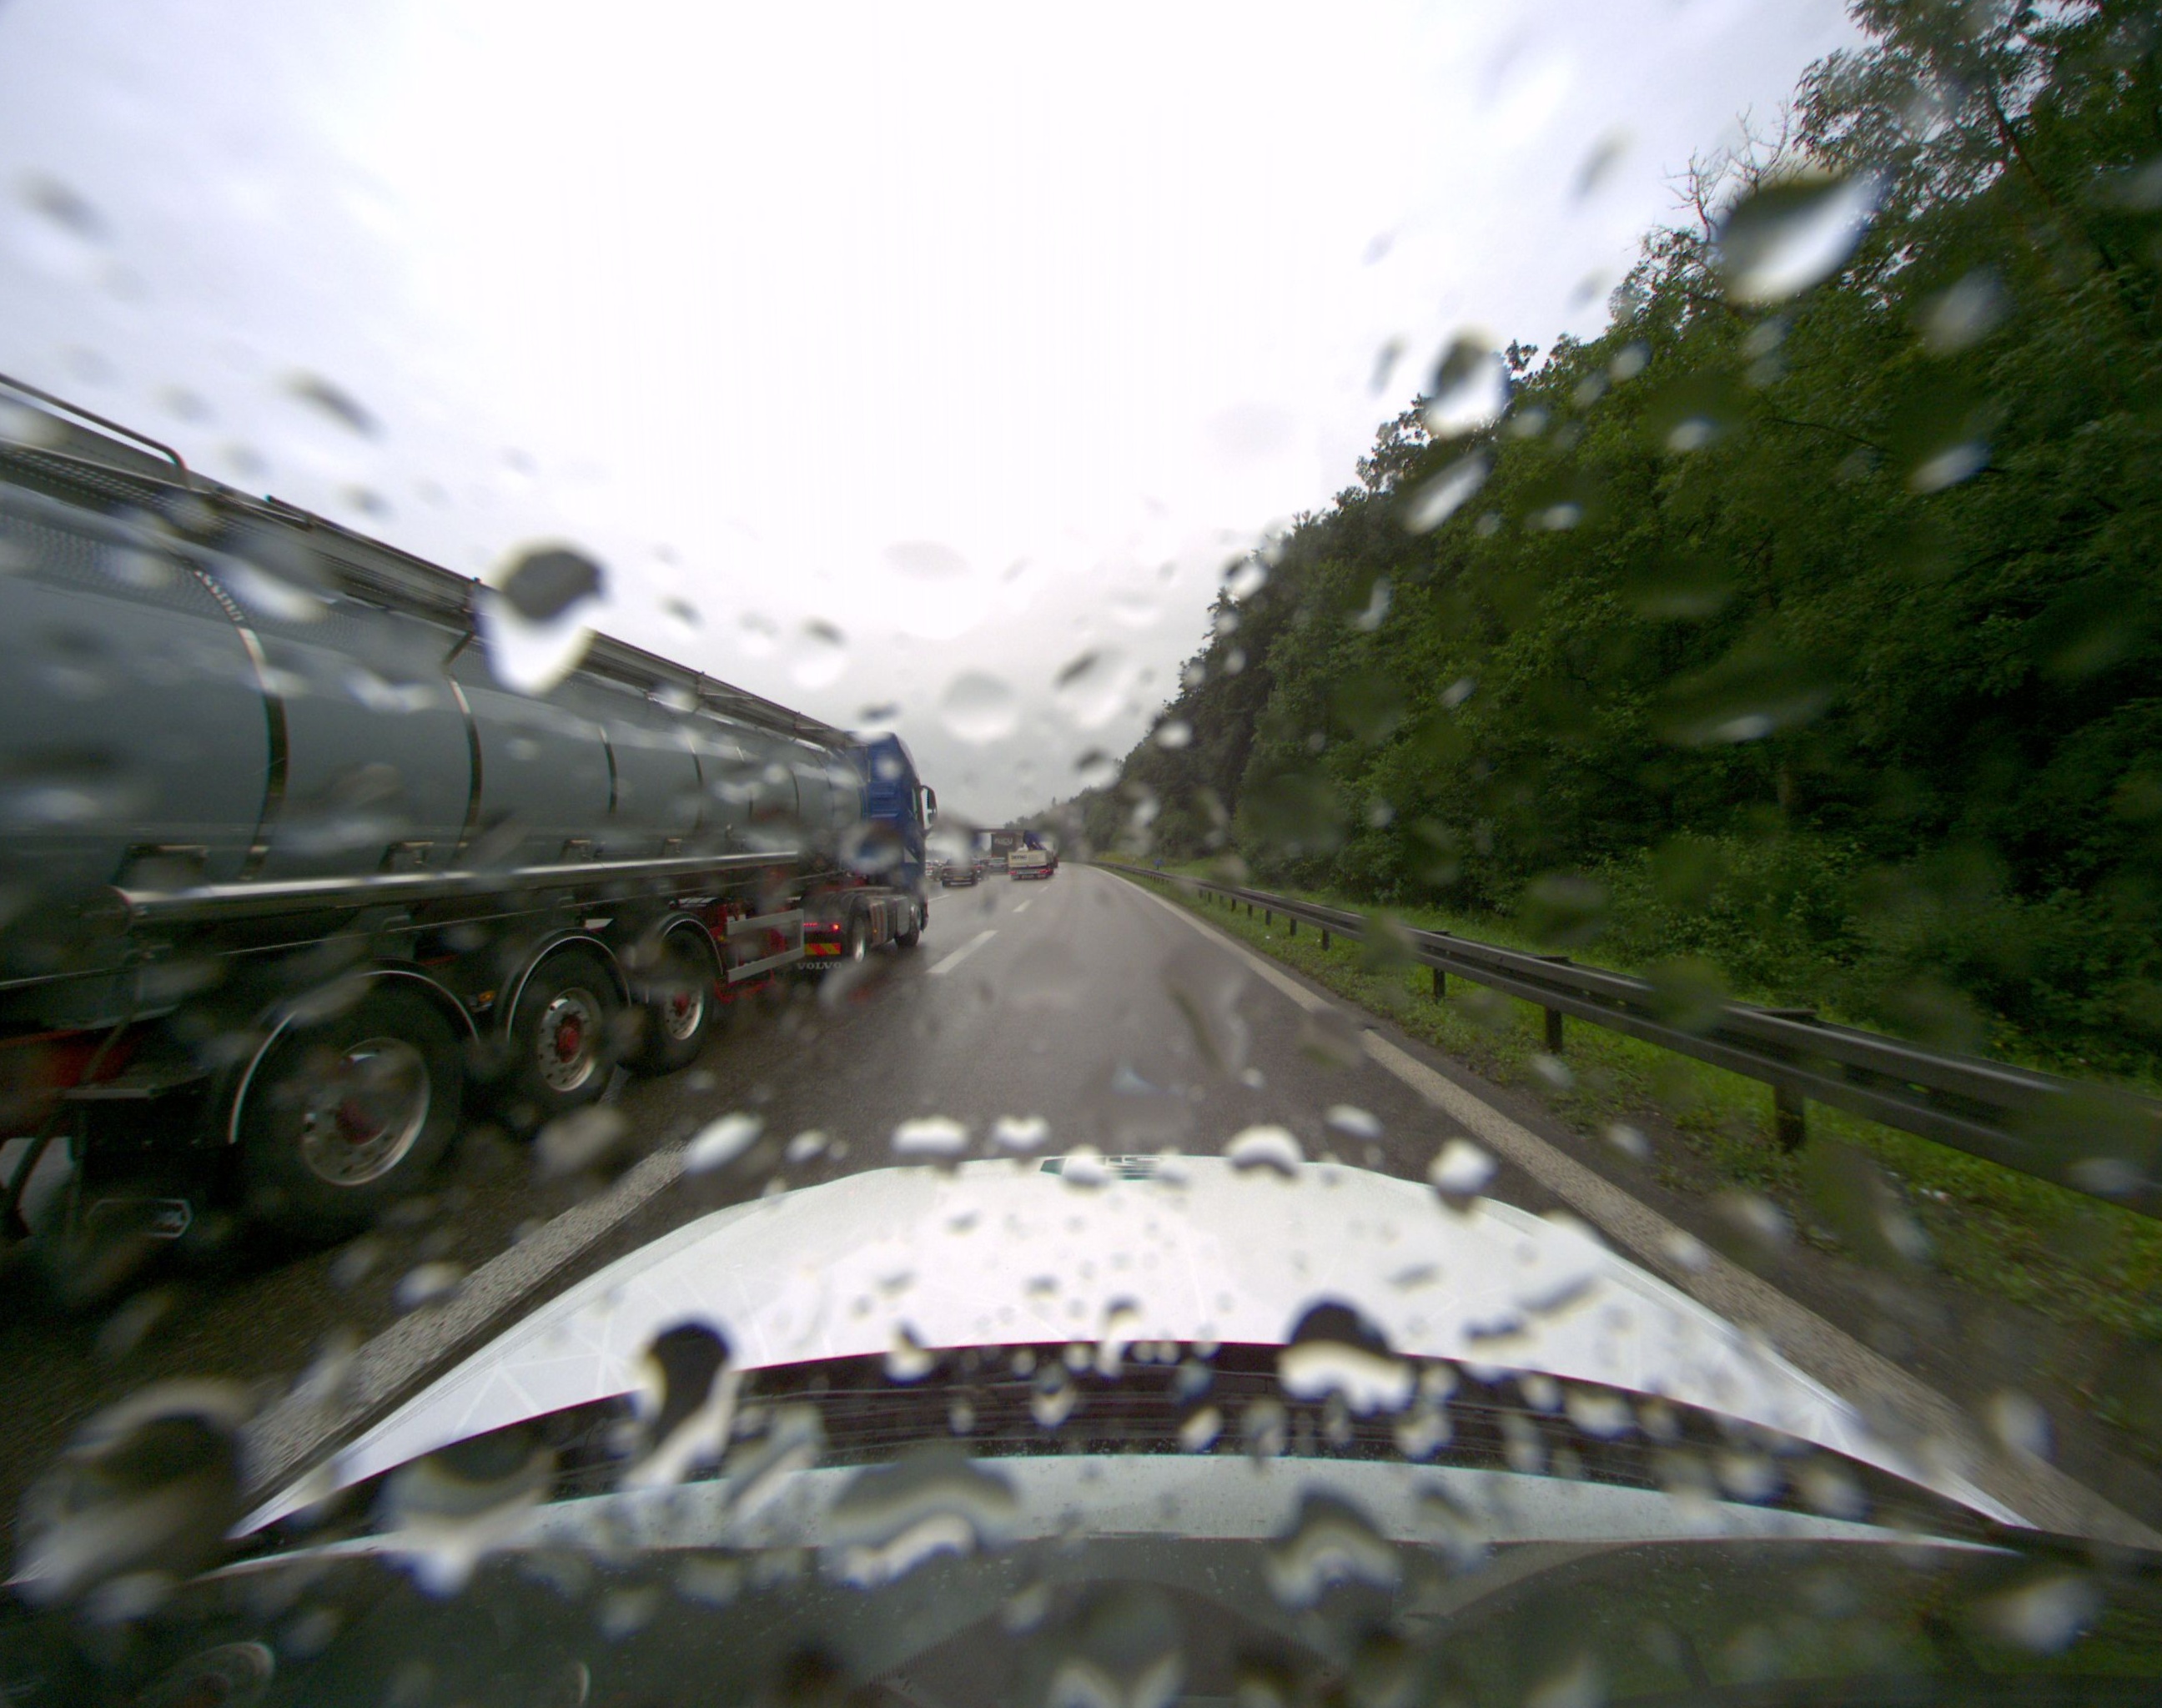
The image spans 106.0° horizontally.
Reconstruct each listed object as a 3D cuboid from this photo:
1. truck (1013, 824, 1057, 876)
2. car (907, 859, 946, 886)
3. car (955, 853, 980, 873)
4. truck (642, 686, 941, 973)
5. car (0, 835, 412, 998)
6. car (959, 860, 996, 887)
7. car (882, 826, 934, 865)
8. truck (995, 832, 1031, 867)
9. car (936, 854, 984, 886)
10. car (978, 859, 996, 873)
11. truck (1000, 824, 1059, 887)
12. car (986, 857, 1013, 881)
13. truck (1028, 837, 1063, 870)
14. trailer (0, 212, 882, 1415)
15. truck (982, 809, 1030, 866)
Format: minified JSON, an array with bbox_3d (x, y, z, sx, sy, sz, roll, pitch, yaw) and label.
[{"bbox_3d":[-4.093,-0.211,75.382,3.497,4.268,10.596,2,-2,-1],"label":"truck"},{"bbox_3d":[-10.734,1.333,56.875,1.779,1.747,4.001,2,-2,2],"label":"car"},{"bbox_3d":[-11.306,0.881,81.321,1.838,1.860,3.999,2,-2,0],"label":"car"},{"bbox_3d":[-4.223,-0.324,13.173,2.867,3.693,5.057,-1,0,1],"label":"truck"},{"bbox_3d":[-11.518,0.635,10.338,1.986,1.594,4.809,-1,0,1],"label":"car"},{"bbox_3d":[-6.936,1.271,55.043,1.931,1.662,4.000,-1,0,1],"label":"car"},{"bbox_3d":[-9.212,-0.423,43.669,1.790,1.838,4.000,2,-2,1],"label":"car"},{"bbox_3d":[-8.800,-0.505,106.609,3.564,4.096,10.879,-1,-2,1],"label":"truck"},{"bbox_3d":[-6.800,0.940,46.044,1.987,1.636,3.999,2,-2,1],"label":"car"},{"bbox_3d":[-11.725,1.510,102.297,1.847,1.663,3.996,2,-2,-2],"label":"car"},{"bbox_3d":[-3.582,0.091,59.768,3.589,4.105,11.555,-1,0,-1],"label":"truck"},{"bbox_3d":[-7.262,1.360,72.916,1.787,2.014,4.000,2,-2,1],"label":"car"},{"bbox_3d":[-4.589,0.041,107.935,3.742,3.971,11.058,2,-2,1],"label":"truck"},{"bbox_3d":[-4.325,-0.103,6.381,2.864,3.289,10.078,-1,0,1],"label":"trailer"},{"bbox_3d":[-7.971,-1.638,88.291,3.741,5.500,10.173,2,-2,1],"label":"truck"}]
